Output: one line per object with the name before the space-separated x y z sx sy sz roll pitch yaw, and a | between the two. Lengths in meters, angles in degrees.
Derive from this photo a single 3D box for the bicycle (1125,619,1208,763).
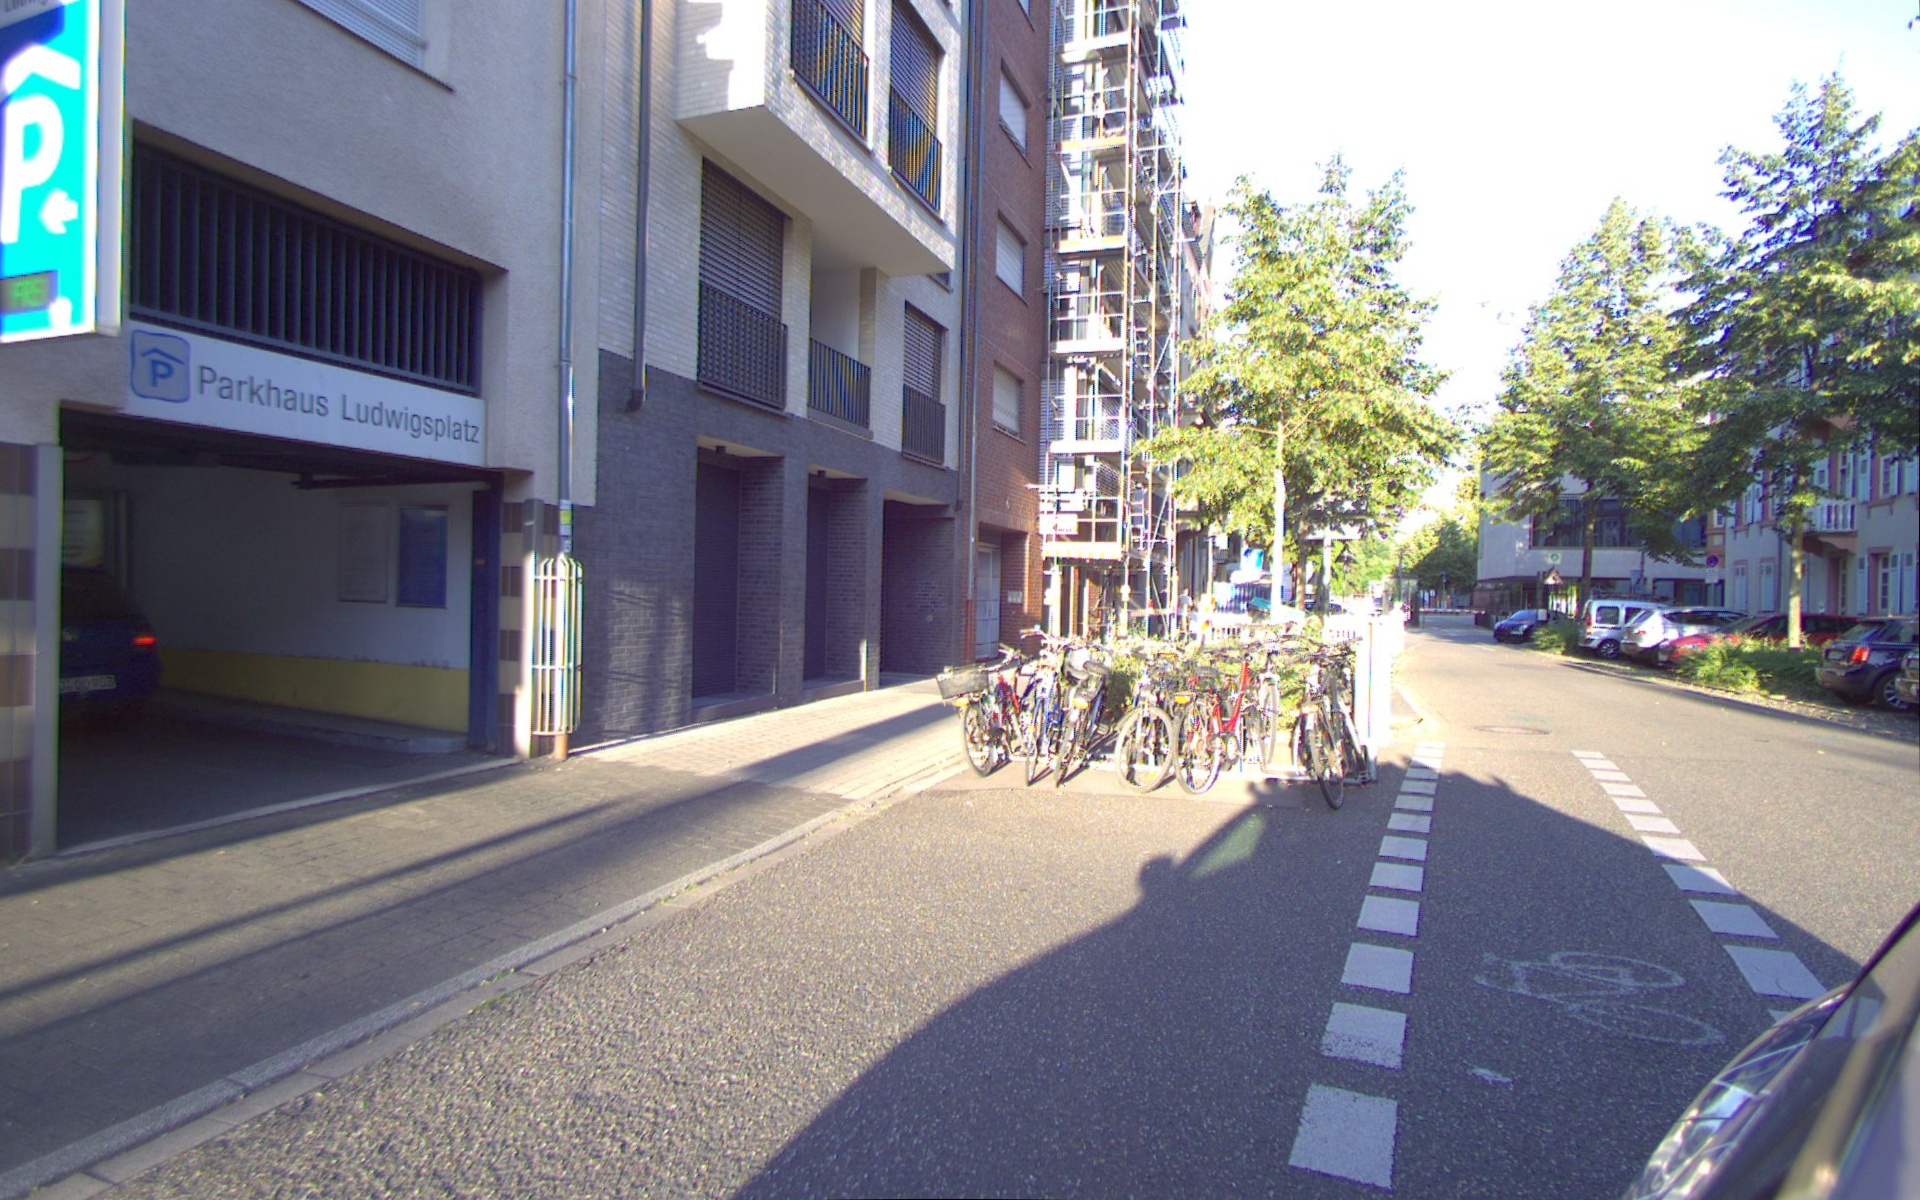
bicycle | 1.942 0.788 9.393 0.483 1.164 1.541 2 1 21

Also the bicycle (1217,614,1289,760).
bicycle | 2.696 0.734 9.237 0.483 1.178 1.541 2 1 21

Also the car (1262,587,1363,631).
car | 15.176 0.360 43.546 3.956 1.705 1.876 2 1 24

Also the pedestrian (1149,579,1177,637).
pedestrian | 6.384 0.240 31.860 0.735 1.806 0.652 1 0 22

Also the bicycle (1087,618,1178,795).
bicycle | 1.360 0.753 7.802 0.377 1.174 1.541 2 1 21

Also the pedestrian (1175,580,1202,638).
pedestrian | 7.183 0.270 31.764 0.734 1.806 0.652 1 0 20

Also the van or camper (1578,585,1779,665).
van or camper | 21.122 0.686 29.998 4.399 2.030 1.847 3 1 20

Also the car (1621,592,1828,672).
car | 19.062 0.751 25.424 3.651 1.691 1.847 3 1 19

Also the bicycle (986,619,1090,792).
bicycle | 0.661 0.774 8.096 0.383 1.204 1.541 2 1 21

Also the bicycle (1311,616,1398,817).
bicycle | 2.834 0.760 7.295 0.493 1.236 1.541 2 1 21

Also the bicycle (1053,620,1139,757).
bicycle | 1.338 0.799 9.757 0.463 1.158 1.541 2 1 21

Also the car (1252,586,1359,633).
car | 14.054 0.347 41.119 3.956 1.705 1.876 2 1 24

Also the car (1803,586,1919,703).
car | 15.512 0.724 15.362 3.651 1.691 1.847 3 1 19

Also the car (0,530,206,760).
car | -8.454 0.196 8.138 4.061 1.582 1.686 4 1 16

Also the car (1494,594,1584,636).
car | 24.175 0.637 42.228 3.627 1.587 1.859 2 1 -36

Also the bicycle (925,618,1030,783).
bicycle | 0.171 0.768 8.318 0.383 1.198 1.395 2 1 21

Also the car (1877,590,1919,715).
car | 14.861 0.818 13.066 3.958 1.691 1.847 3 1 20

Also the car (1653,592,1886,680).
car | 18.269 0.758 23.057 3.651 1.691 1.847 3 1 19

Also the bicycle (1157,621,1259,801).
bicycle | 1.903 0.767 7.653 0.414 1.171 1.538 2 1 26

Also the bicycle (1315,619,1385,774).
bicycle | 3.442 0.795 8.949 0.503 1.193 1.541 2 1 21

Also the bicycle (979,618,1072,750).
bicycle | 0.675 0.779 9.967 0.453 1.146 1.541 2 1 21
